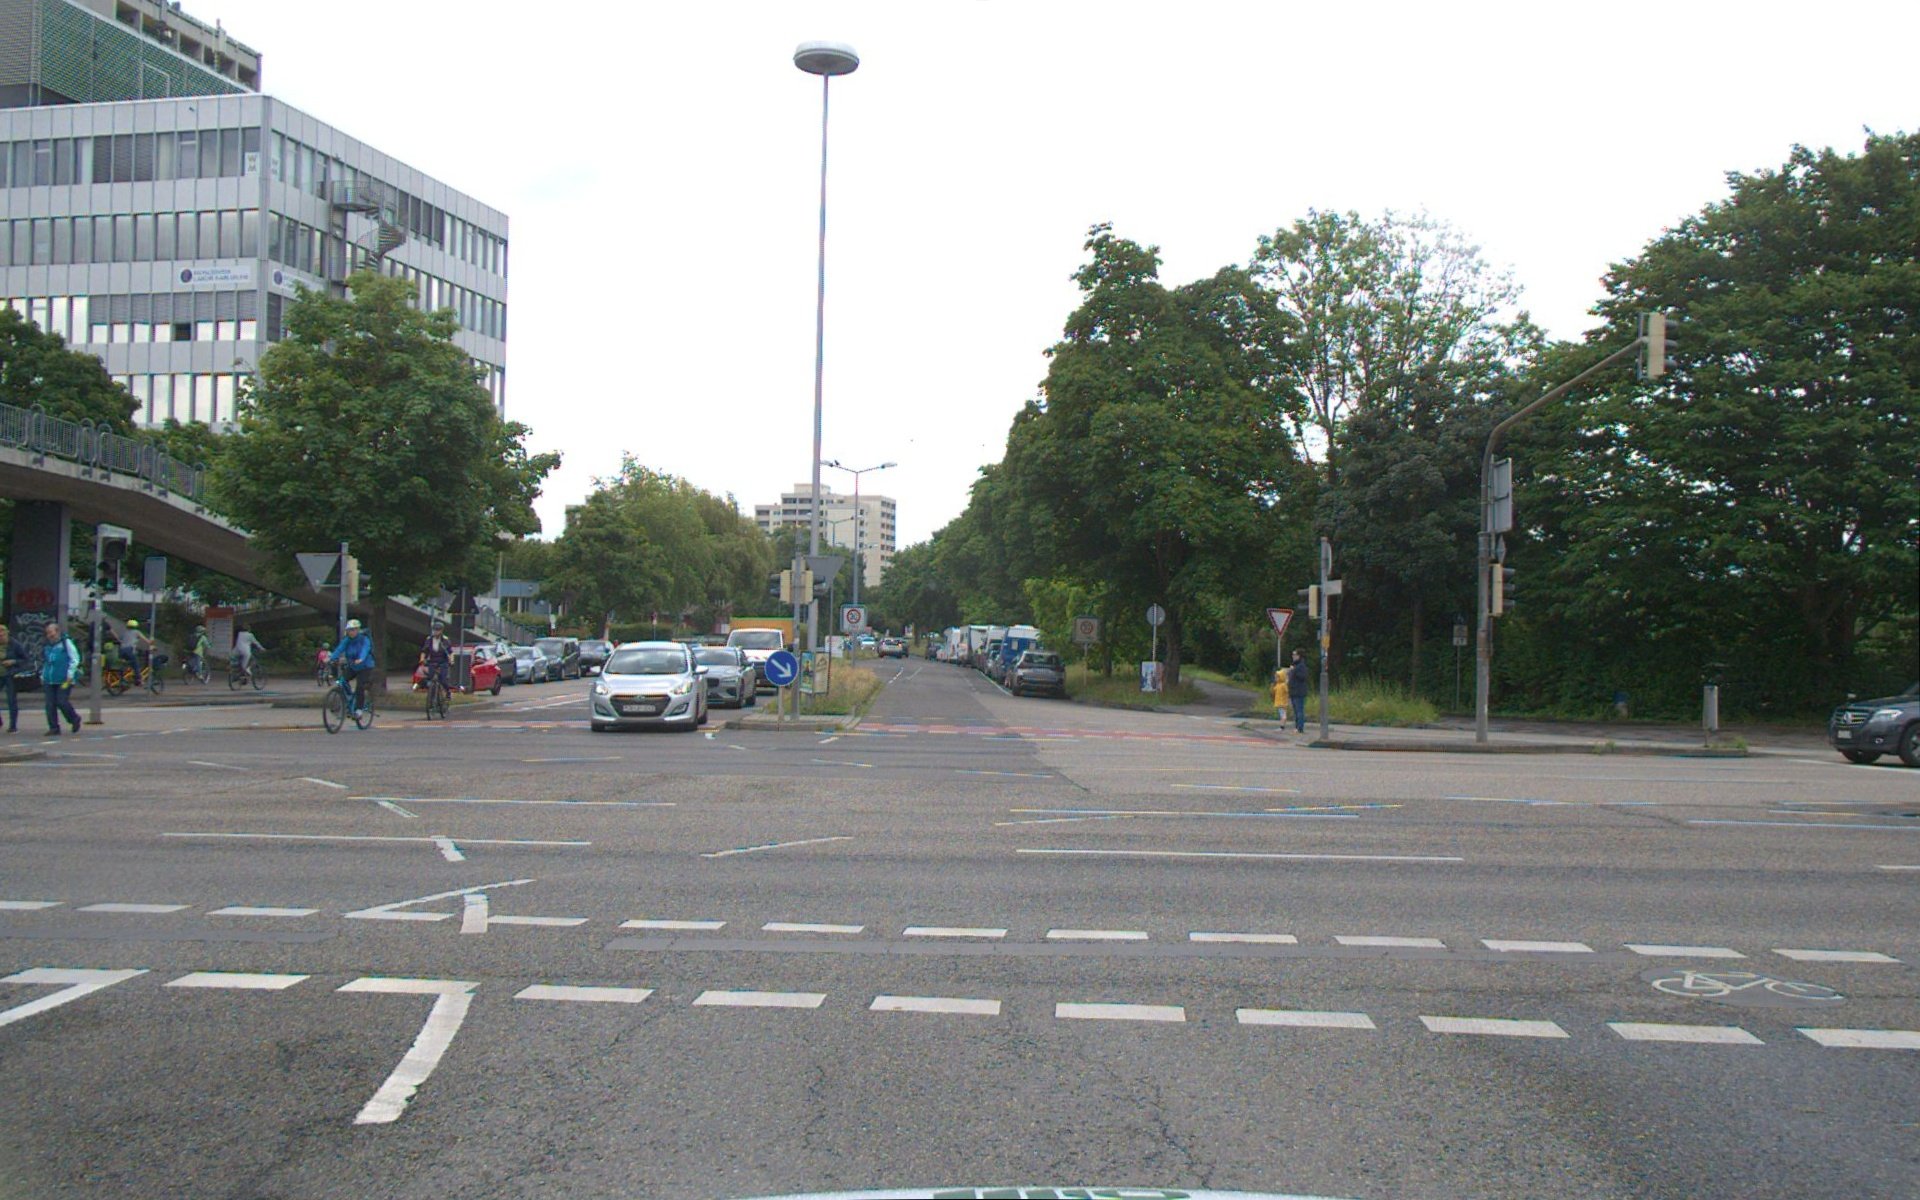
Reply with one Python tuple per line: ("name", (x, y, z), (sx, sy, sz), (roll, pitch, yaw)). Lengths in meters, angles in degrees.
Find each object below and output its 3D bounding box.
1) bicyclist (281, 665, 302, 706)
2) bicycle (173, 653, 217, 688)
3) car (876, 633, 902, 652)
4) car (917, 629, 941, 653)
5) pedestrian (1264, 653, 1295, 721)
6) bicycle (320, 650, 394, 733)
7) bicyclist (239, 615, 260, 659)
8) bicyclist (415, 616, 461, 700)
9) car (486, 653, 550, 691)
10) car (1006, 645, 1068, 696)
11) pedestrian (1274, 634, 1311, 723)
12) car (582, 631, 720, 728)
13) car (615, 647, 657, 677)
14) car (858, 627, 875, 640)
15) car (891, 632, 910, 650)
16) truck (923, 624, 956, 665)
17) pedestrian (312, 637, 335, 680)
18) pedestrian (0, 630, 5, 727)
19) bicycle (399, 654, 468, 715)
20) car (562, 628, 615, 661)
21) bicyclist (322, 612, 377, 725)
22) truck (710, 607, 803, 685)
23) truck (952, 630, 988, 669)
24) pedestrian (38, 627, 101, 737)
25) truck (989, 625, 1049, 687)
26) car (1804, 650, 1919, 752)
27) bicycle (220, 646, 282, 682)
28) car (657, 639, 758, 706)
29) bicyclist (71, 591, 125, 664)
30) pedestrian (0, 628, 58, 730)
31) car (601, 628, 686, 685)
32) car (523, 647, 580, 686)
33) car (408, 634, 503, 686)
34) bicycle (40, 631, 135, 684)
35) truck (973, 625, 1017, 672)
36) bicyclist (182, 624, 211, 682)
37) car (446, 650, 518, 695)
("bicyclist", (-20.675, 2.641, 51.141), (0.422, 1.239, 0.567), (1, -2, -4))
("bicycle", (-21.987, 2.012, 47.576), (0.516, 0.966, 1.708), (1, -2, -2))
("car", (-6.037, 3.613, 140.952), (1.981, 1.532, 3.994), (1, -2, -6))
("car", (-2.698, 3.518, 142.423), (1.620, 1.952, 3.912), (1, -1, -7))
("pedestrian", (6.546, 1.778, 33.876), (0.516, 1.365, 0.524), (1, -2, -4))
("bicycle", (-9.829, 1.474, 27.020), (0.532, 1.290, 2.109), (1, -2, -3))
("bicyclist", (-19.658, 1.029, 45.783), (0.396, 1.202, 0.377), (1, -1, -1))
("bicyclist", (-10.171, 1.137, 32.262), (0.665, 1.622, 0.694), (1, -2, -4))
("car", (-17.498, 2.840, 65.647), (1.638, 1.411, 3.893), (1, -2, -3))
("car", (2.642, 2.428, 57.657), (1.748, 1.691, 3.997), (1, -2, -3))
("pedestrian", (6.684, 1.570, 33.262), (0.644, 1.781, 0.458), (1, -2, -4))
("car", (-5.257, 1.385, 28.622), (1.753, 1.546, 4.322), (1, -3, -3))
("car", (-17.869, 3.414, 91.296), (1.638, 1.579, 3.997), (1, -2, -3))
("car", (-11.358, 4.096, 200.325), (1.980, 1.532, 3.997), (1, -2, -3))
("car", (-5.577, 3.868, 155.513), (1.369, 1.661, 3.477), (1, -2, -10))
("truck", (-1.572, 3.406, 126.494), (1.955, 3.062, 5.763), (1, -2, -6))
("pedestrian", (-19.413, 1.794, 50.478), (0.489, 1.293, 0.458), (1, -2, -1))
("pedestrian", (-16.076, 1.287, 27.122), (0.570, 1.607, 0.776), (1, -2, -21))
("bicycle", (-10.188, 1.618, 32.085), (0.712, 1.120, 2.262), (1, -2, -3))
("car", (-17.587, 2.088, 78.363), (1.641, 1.514, 3.999), (1, -1, -1))
("bicyclist", (-9.871, 1.103, 26.759), (0.631, 1.800, 0.646), (1, -2, -3))
("truck", (-6.145, 1.409, 50.669), (2.111, 2.238, 5.839), (1, -2, 0))
("truck", (0.672, 3.498, 115.816), (1.955, 2.618, 5.371), (1, -2, -5))
("pedestrian", (-13.509, 1.240, 25.099), (0.674, 1.633, 0.487), (1, -2, -8))
("truck", (2.595, 2.527, 74.477), (2.131, 2.703, 6.241), (0, -2, -3))
("car", (16.061, 1.597, 26.288), (4.375, 1.530, 1.845), (1, -2, -3))
("bicycle", (-19.598, 1.768, 45.747), (0.746, 0.966, 1.954), (0, -2, 3))
("car", (-6.015, 1.699, 39.916), (1.858, 1.445, 4.734), (1, -1, -2))
("bicyclist", (-23.232, 0.746, 44.598), (0.838, 1.926, 1.127), (1, -1, -1))
("pedestrian", (-14.315, 1.193, 25.196), (0.902, 1.537, 0.402), (1, -2, -15))
("car", (-8.848, 1.574, 46.573), (1.735, 1.504, 4.386), (1, -2, -3))
("car", (-17.486, 2.840, 70.984), (1.638, 1.579, 3.759), (1, -2, -3))
("car", (-14.405, 1.727, 47.412), (1.480, 1.415, 3.533), (0, -2, 3))
("bicycle", (-23.276, 1.508, 44.206), (0.838, 1.338, 3.229), (1, -1, -1))
("truck", (2.153, 3.041, 103.829), (1.955, 2.888, 5.722), (1, -2, -7))
("bicyclist", (-22.050, 1.540, 47.763), (0.553, 1.673, 0.531), (1, -2, -3))
("car", (-17.343, 2.611, 60.160), (1.638, 1.579, 3.889), (1, -2, -3))
